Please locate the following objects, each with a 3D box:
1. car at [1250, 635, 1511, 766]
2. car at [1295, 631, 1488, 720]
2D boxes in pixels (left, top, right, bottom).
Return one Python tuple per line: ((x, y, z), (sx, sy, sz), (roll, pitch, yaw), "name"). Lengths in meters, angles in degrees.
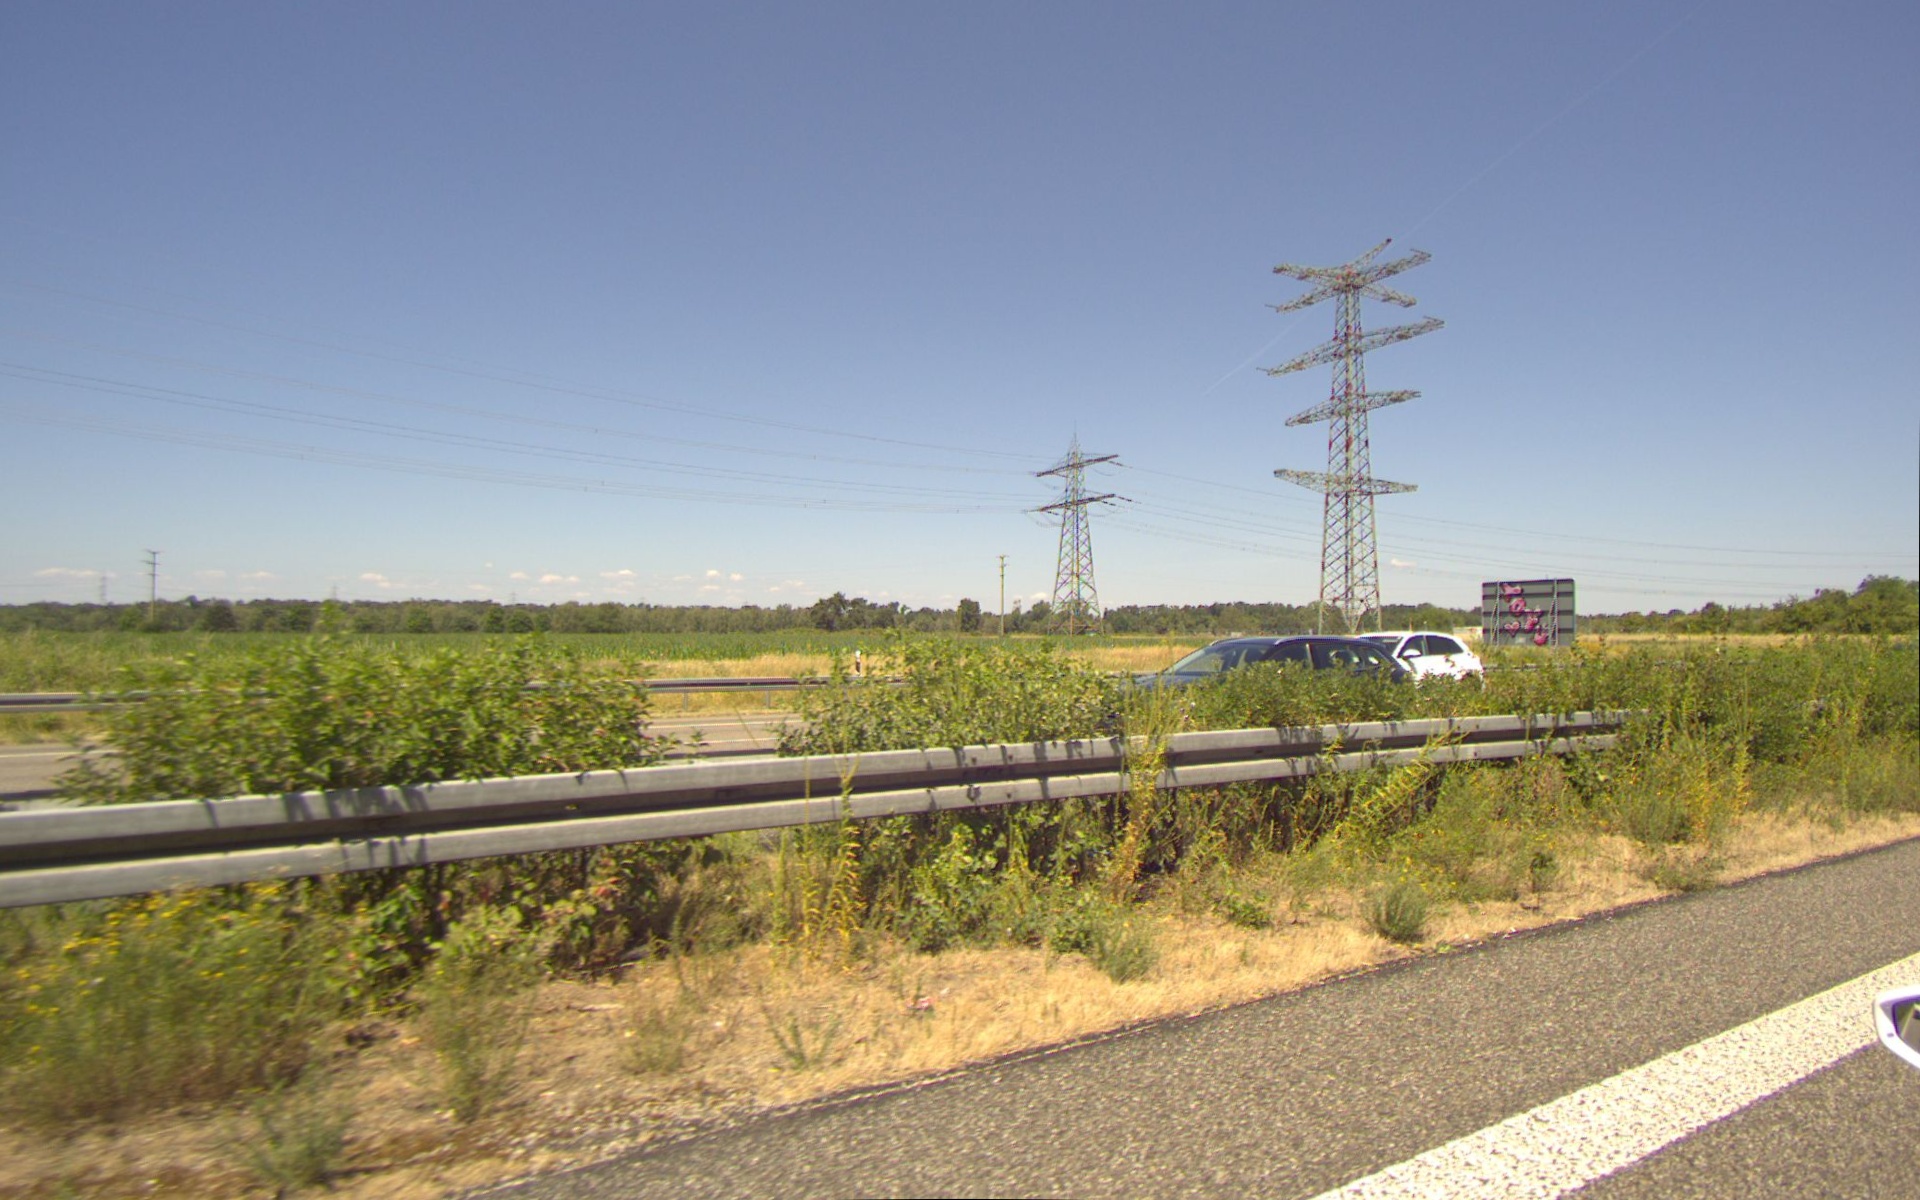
((5.733, 1.269, 13.639), (3.449, 1.564, 1.464), (1, -2, -29), "car")
((8.861, 1.477, 20.593), (3.873, 1.673, 1.605), (1, -2, -29), "car")
